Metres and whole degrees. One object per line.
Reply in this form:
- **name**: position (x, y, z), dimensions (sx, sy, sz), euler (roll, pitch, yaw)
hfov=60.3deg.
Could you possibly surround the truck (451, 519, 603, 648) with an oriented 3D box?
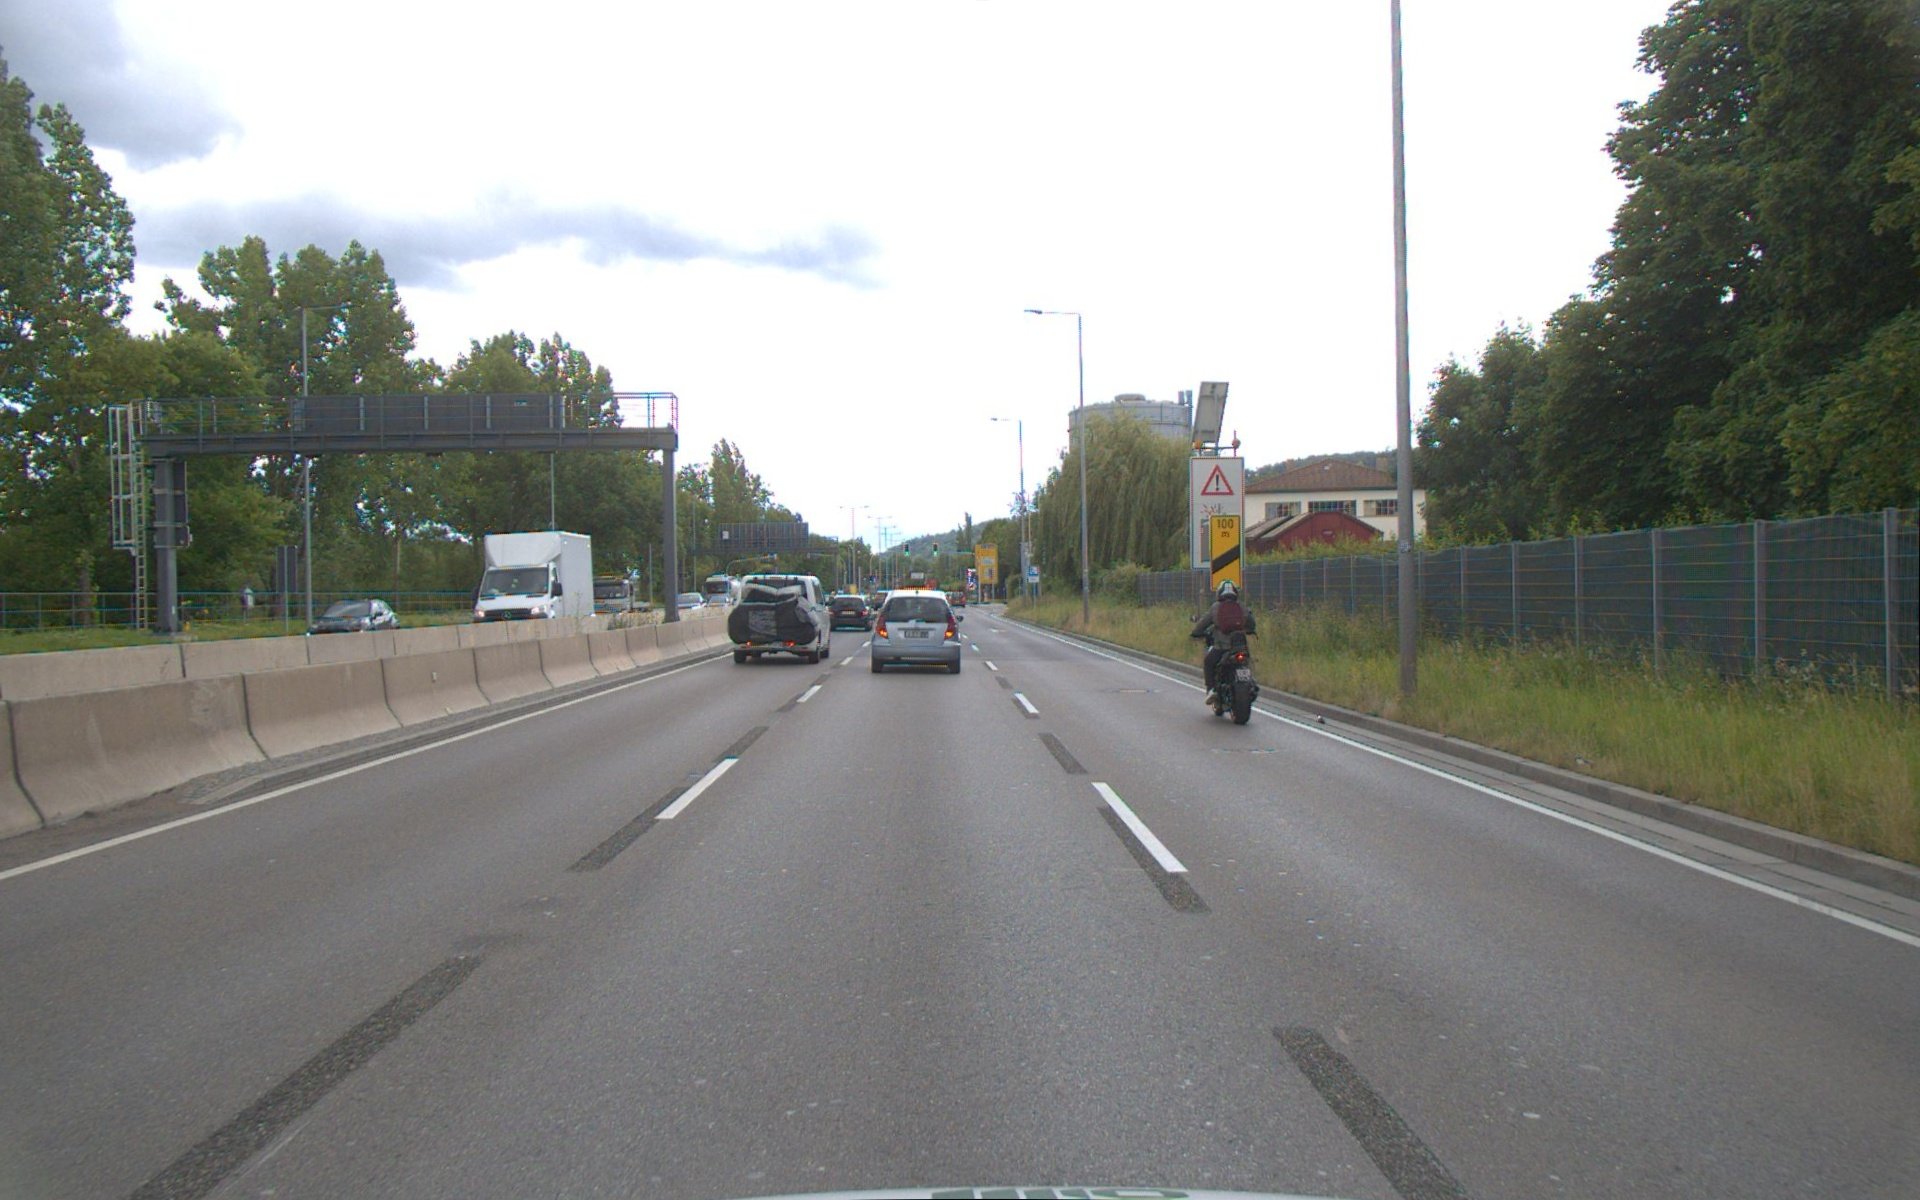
- **truck**: position (-11.553, -0.428, 44.788), dimensions (2.355, 3.161, 7.199), euler (1, 0, -2)

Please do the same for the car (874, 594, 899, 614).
- **car**: position (-6.085, 0.330, 137.354), dimensions (1.953, 1.579, 3.998), euler (1, 0, -2)

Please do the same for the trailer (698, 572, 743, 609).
- **trailer**: position (-22.218, -0.916, 154.140), dimensions (3.039, 3.276, 11.661), euler (1, 0, -3)

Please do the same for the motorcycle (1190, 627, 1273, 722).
- **motorcycle**: position (3.338, 0.896, 20.465), dimensions (0.692, 1.058, 2.027), euler (1, 0, 1)

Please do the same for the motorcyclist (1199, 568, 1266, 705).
- **motorcyclist**: position (3.349, 0.432, 20.386), dimensions (0.670, 1.638, 0.845), euler (1, 0, 1)

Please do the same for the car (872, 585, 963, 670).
- **car**: position (-0.851, 0.497, 33.041), dimensions (1.676, 1.556, 3.999), euler (1, 0, -2)

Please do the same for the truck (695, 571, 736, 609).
- **truck**: position (-21.897, -0.868, 148.492), dimensions (3.036, 3.275, 5.388), euler (1, 0, -3)

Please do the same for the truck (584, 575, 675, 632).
- **truck**: position (-19.892, 0.126, 100.611), dimensions (2.796, 3.161, 15.880), euler (1, 0, -2)

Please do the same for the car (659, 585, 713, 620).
- **car**: position (-13.227, 0.105, 80.011), dimensions (1.887, 1.646, 4.455), euler (1, 0, -1)

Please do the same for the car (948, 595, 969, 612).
- **car**: position (-0.169, 0.320, 166.138), dimensions (1.953, 1.579, 3.998), euler (1, 0, -2)

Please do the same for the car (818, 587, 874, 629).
- **car**: position (-4.523, 0.280, 66.000), dimensions (1.953, 1.579, 3.999), euler (1, 0, -1)

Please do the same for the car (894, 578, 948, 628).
- **car**: position (-1.388, 0.096, 60.383), dimensions (1.869, 1.713, 3.999), euler (1, 0, -1)

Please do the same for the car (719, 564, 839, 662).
- **car**: position (-3.877, 0.245, 36.349), dimensions (2.170, 1.959, 5.001), euler (1, 0, -2)

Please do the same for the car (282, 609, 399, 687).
- **car**: position (-17.816, 1.344, 47.742), dimensions (1.953, 2.049, 3.998), euler (1, 0, -2)

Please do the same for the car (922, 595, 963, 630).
- **car**: position (-0.829, 0.555, 75.677), dimensions (1.803, 1.489, 3.999), euler (1, 0, -1)
